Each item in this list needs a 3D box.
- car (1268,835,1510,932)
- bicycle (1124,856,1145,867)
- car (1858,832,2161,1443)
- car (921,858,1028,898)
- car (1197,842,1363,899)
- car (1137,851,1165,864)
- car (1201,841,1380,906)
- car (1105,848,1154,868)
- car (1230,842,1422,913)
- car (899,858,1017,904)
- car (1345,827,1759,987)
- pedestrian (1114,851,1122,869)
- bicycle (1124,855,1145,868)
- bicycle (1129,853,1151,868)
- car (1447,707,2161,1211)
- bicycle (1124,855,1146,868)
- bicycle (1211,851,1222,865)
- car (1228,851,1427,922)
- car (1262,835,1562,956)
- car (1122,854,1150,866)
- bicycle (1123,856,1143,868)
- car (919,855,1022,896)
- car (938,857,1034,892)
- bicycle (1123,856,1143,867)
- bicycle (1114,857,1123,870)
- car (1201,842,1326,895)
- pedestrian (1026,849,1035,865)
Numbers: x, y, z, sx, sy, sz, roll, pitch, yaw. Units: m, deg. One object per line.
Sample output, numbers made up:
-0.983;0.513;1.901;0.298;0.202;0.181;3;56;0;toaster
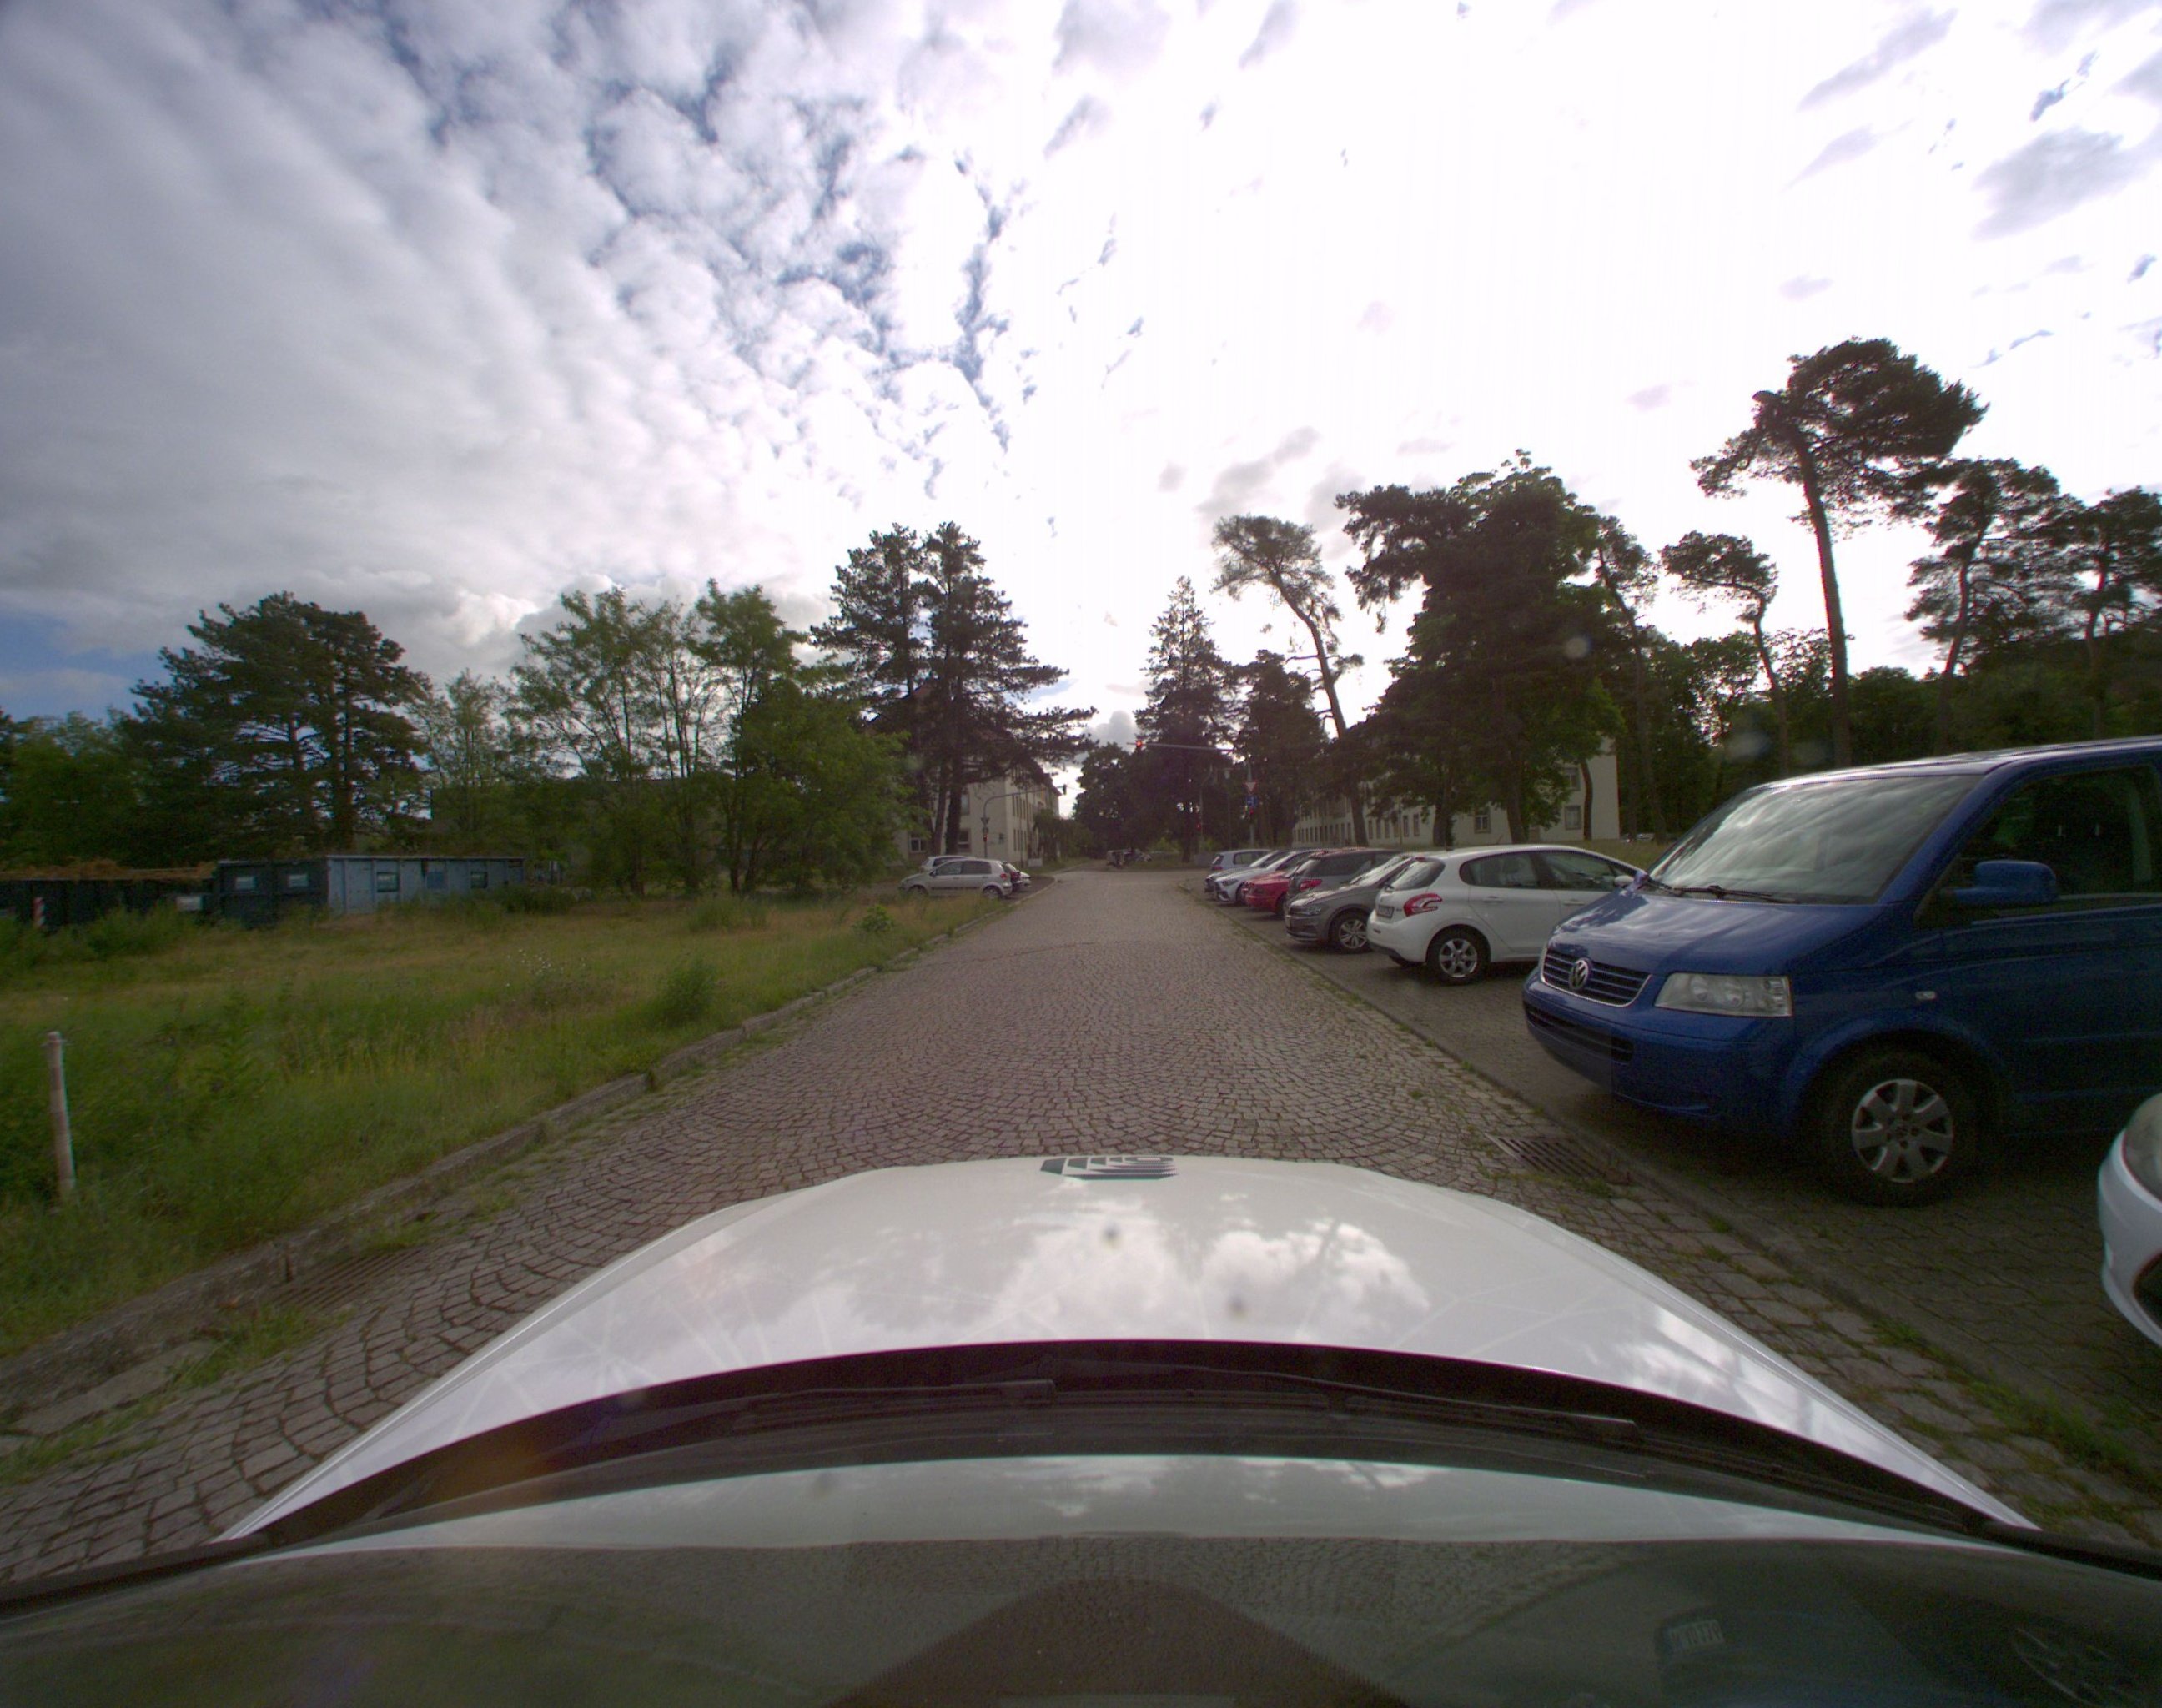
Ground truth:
5.695;0.534;15.418;3.848;1.472;1.758;-4;0;1;car
5.262;0.746;80.346;1.966;1.069;0.583;-2;0;-28;bicycle
4.577;0.563;1.791;3.849;1.472;1.842;-6;0;1;car
-3.874;0.864;30.089;3.734;1.428;1.582;0;0;-1;car
6.136;0.493;25.482;4.666;1.416;1.871;-4;0;0;car
8.488;0.462;98.753;3.222;1.416;1.725;-2;0;-1;car
5.796;0.525;22.803;4.417;1.416;1.867;-4;0;-7;car
5.582;0.447;94.972;5.355;1.925;2.020;-4;0;-7;car
6.061;0.562;20.523;4.245;1.416;1.872;-4;0;2;car
-4.095;0.892;27.496;3.691;1.479;1.582;0;0;-1;car
5.382;0.573;9.704;3.848;1.472;1.758;-4;0;1;car
3.526;0.558;77.289;0.736;1.618;0.776;-2;0;1;pedestrian
5.082;0.721;77.515;1.951;1.117;0.587;-2;0;-5;bicycle
5.657;0.621;78.327;1.951;1.384;0.587;-2;0;-5;bicycle
4.848;0.343;4.351;4.790;1.945;2.004;-4;0;1;car
5.115;0.695;76.880;1.951;1.132;0.587;-2;0;-5;bicycle
10.706;0.331;64.554;0.584;1.106;1.963;-2;0;3;bicycle
5.354;0.676;18.074;3.848;1.236;1.758;-4;0;1;car
4.963;0.591;12.568;3.852;1.472;1.757;-4;0;-2;car
6.189;0.694;91.568;2.999;1.268;1.533;-2;0;-4;car
5.047;0.749;79.002;1.966;1.069;0.583;-2;0;-28;bicycle
-4.413;0.844;32.892;3.935;1.563;1.650;0;0;-1;car
-4.094;0.877;35.426;3.933;1.421;1.651;0;0;1;car
5.354;0.738;84.033;1.963;1.069;0.583;-2;0;-22;bicycle
3.368;0.853;73.742;0.601;1.132;1.959;-2;0;-3;bicycle
6.176;0.486;27.935;3.910;1.477;1.644;-4;0;4;car
-5.791;0.349;93.033;0.778;1.837;0.734;-2;0;-29;pedestrian
